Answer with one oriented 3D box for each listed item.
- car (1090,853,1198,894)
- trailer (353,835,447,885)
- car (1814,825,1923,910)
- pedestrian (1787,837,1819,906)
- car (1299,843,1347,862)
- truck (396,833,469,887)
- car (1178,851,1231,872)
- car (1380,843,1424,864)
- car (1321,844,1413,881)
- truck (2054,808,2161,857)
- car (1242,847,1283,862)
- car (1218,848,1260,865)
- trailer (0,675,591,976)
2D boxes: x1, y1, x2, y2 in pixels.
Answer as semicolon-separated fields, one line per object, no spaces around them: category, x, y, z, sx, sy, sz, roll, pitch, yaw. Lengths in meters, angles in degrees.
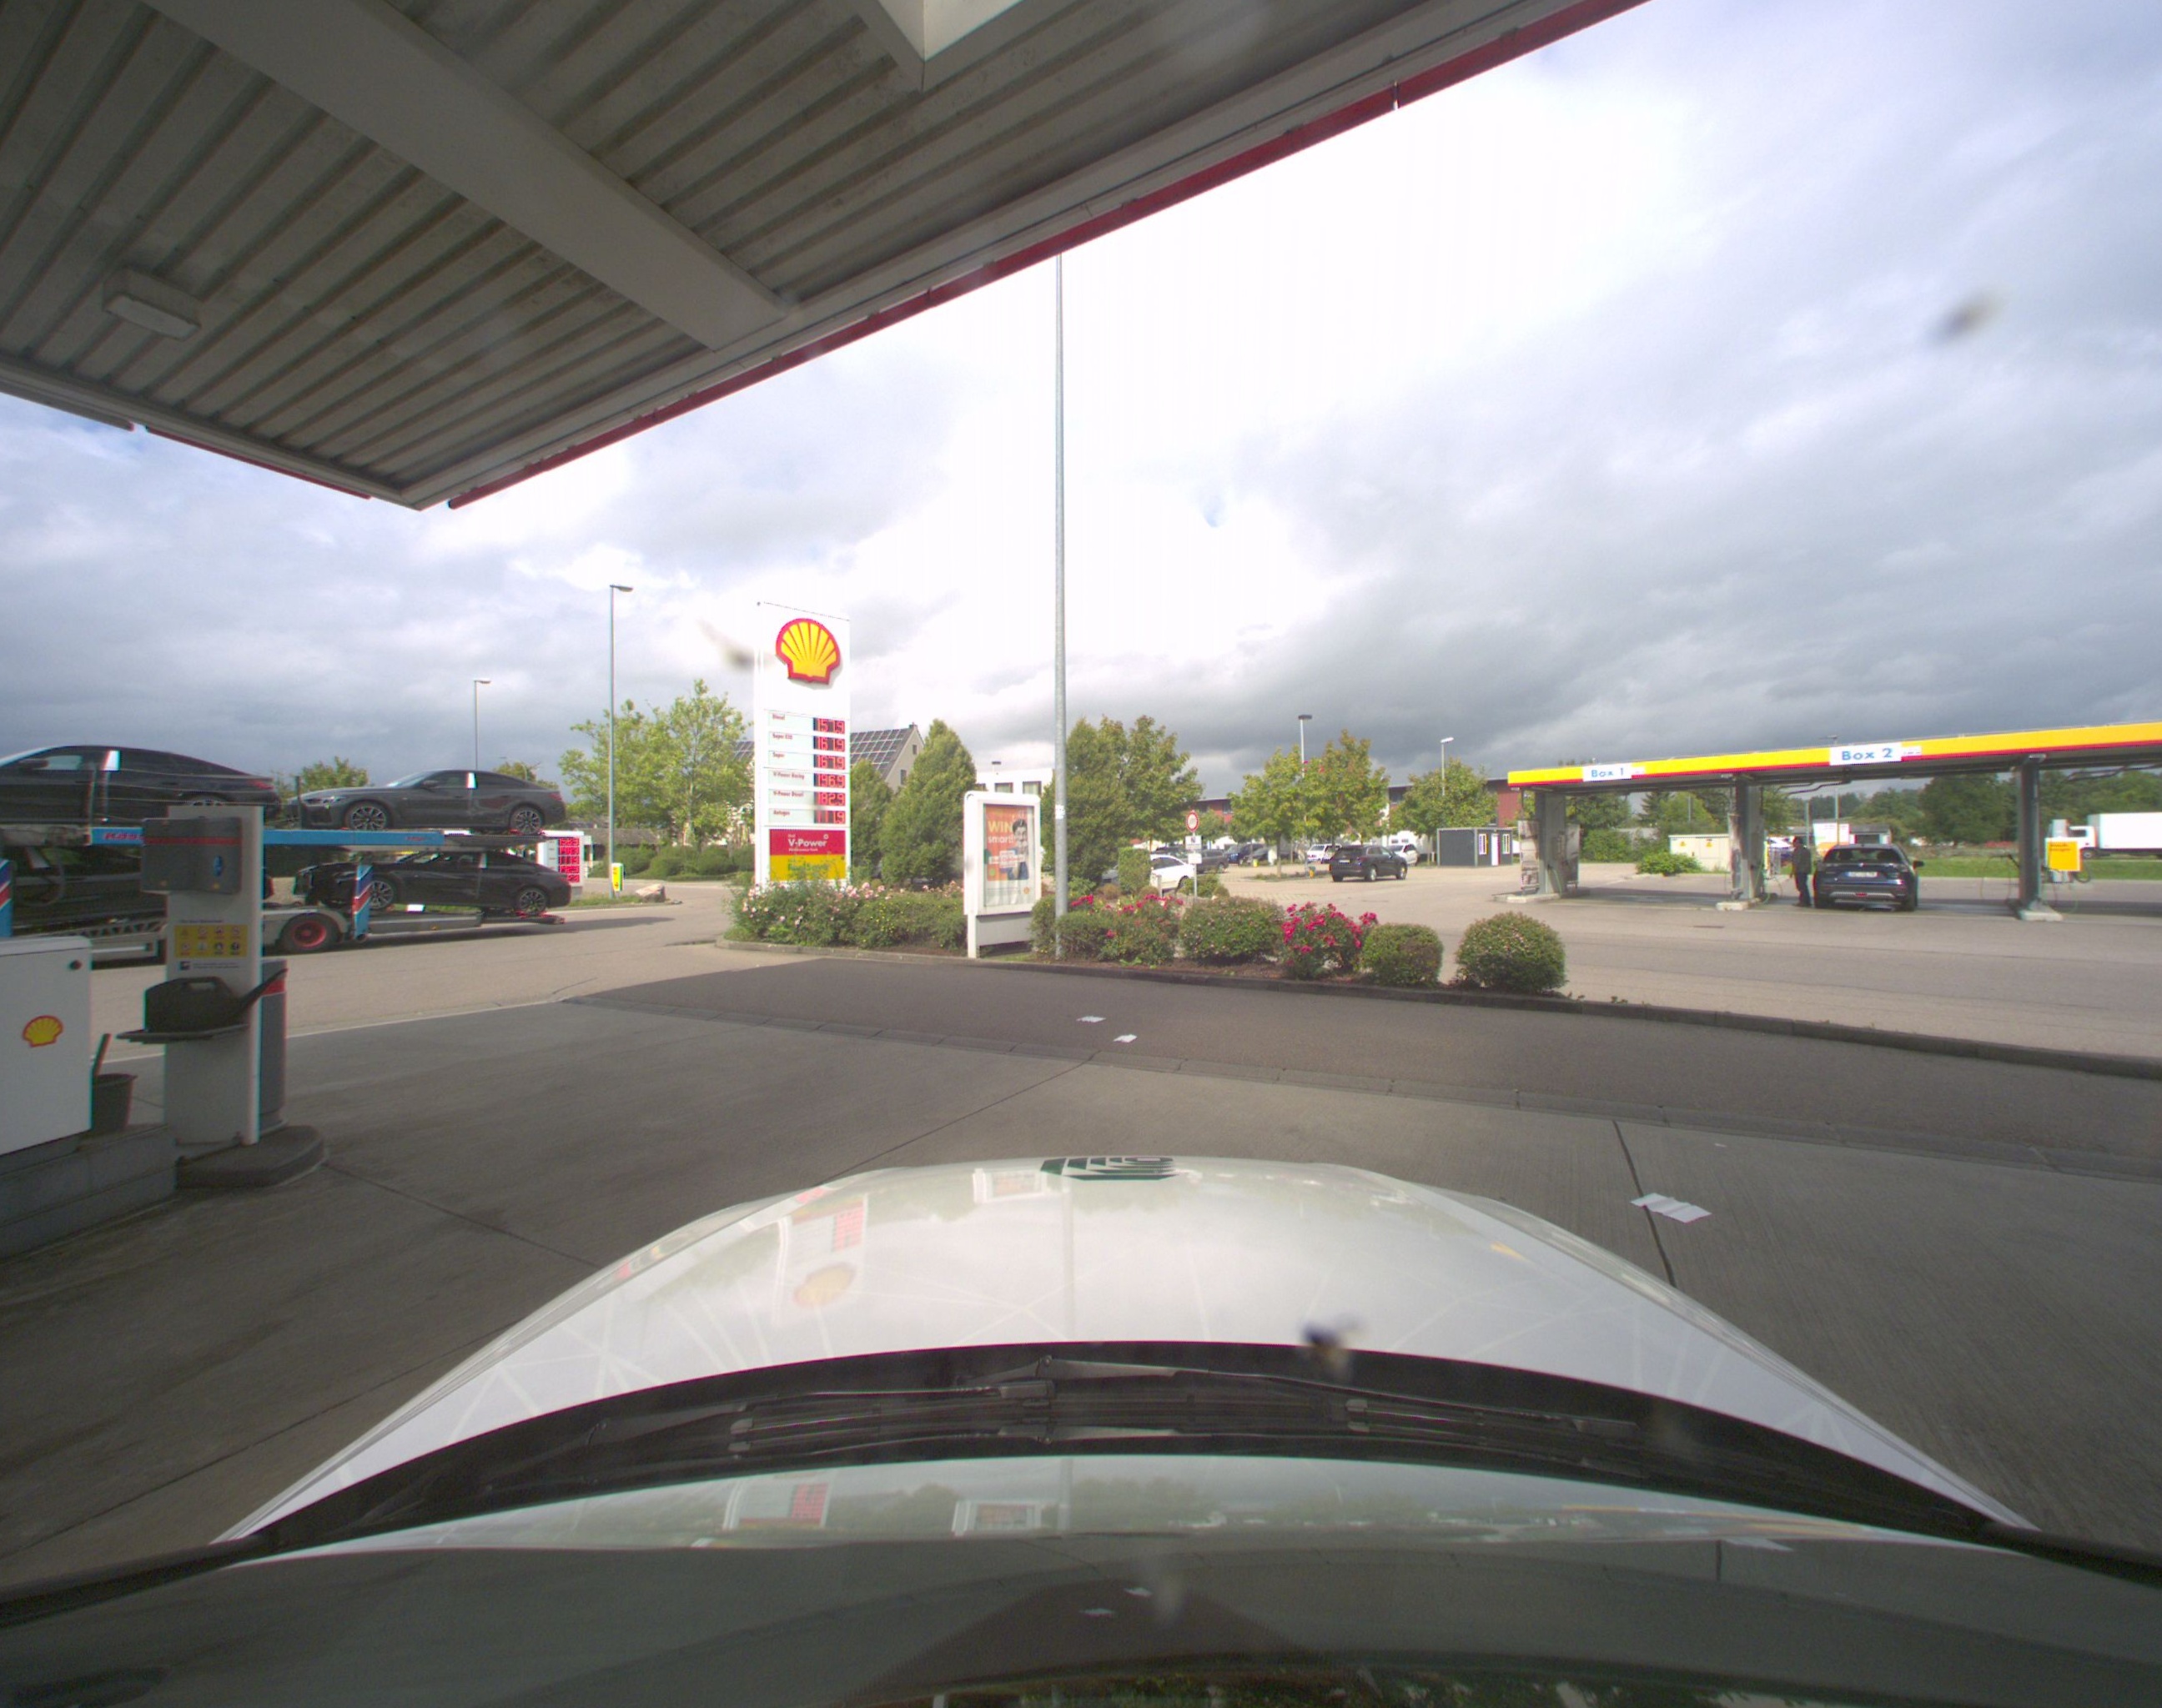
car;2.392;0.686;30.003;4.368;1.404;1.354;0;-1;-42
trailer;-54.680;0.519;65.218;12.548;3.776;2.757;-1;-1;36
car;19.437;0.315;20.057;3.828;1.897;1.703;0;-1;-43
pedestrian;18.296;0.439;20.632;0.551;1.722;0.531;-1;-1;38
car;23.870;-0.121;80.251;4.903;1.833;2.159;0;-1;-41
truck;-48.367;0.434;60.670;5.842;3.846;2.759;-1;-1;36
car;7.537;0.452;49.687;3.245;1.228;1.488;0;-1;-42
car;20.605;-0.046;52.198;3.120;1.307;1.352;0;-1;-42
car;12.874;0.376;36.562;4.527;1.548;1.864;0;-1;-41
truck;78.228;-1.567;59.992;7.989;3.534;2.714;-1;-1;41
car;14.489;0.037;64.858;3.437;1.179;1.468;0;-1;-42
car;12.947;0.184;66.642;3.407;1.320;1.726;0;-1;-42
trailer;-16.436;-0.407;13.665;2.711;4.423;14.450;-1;-1;31
